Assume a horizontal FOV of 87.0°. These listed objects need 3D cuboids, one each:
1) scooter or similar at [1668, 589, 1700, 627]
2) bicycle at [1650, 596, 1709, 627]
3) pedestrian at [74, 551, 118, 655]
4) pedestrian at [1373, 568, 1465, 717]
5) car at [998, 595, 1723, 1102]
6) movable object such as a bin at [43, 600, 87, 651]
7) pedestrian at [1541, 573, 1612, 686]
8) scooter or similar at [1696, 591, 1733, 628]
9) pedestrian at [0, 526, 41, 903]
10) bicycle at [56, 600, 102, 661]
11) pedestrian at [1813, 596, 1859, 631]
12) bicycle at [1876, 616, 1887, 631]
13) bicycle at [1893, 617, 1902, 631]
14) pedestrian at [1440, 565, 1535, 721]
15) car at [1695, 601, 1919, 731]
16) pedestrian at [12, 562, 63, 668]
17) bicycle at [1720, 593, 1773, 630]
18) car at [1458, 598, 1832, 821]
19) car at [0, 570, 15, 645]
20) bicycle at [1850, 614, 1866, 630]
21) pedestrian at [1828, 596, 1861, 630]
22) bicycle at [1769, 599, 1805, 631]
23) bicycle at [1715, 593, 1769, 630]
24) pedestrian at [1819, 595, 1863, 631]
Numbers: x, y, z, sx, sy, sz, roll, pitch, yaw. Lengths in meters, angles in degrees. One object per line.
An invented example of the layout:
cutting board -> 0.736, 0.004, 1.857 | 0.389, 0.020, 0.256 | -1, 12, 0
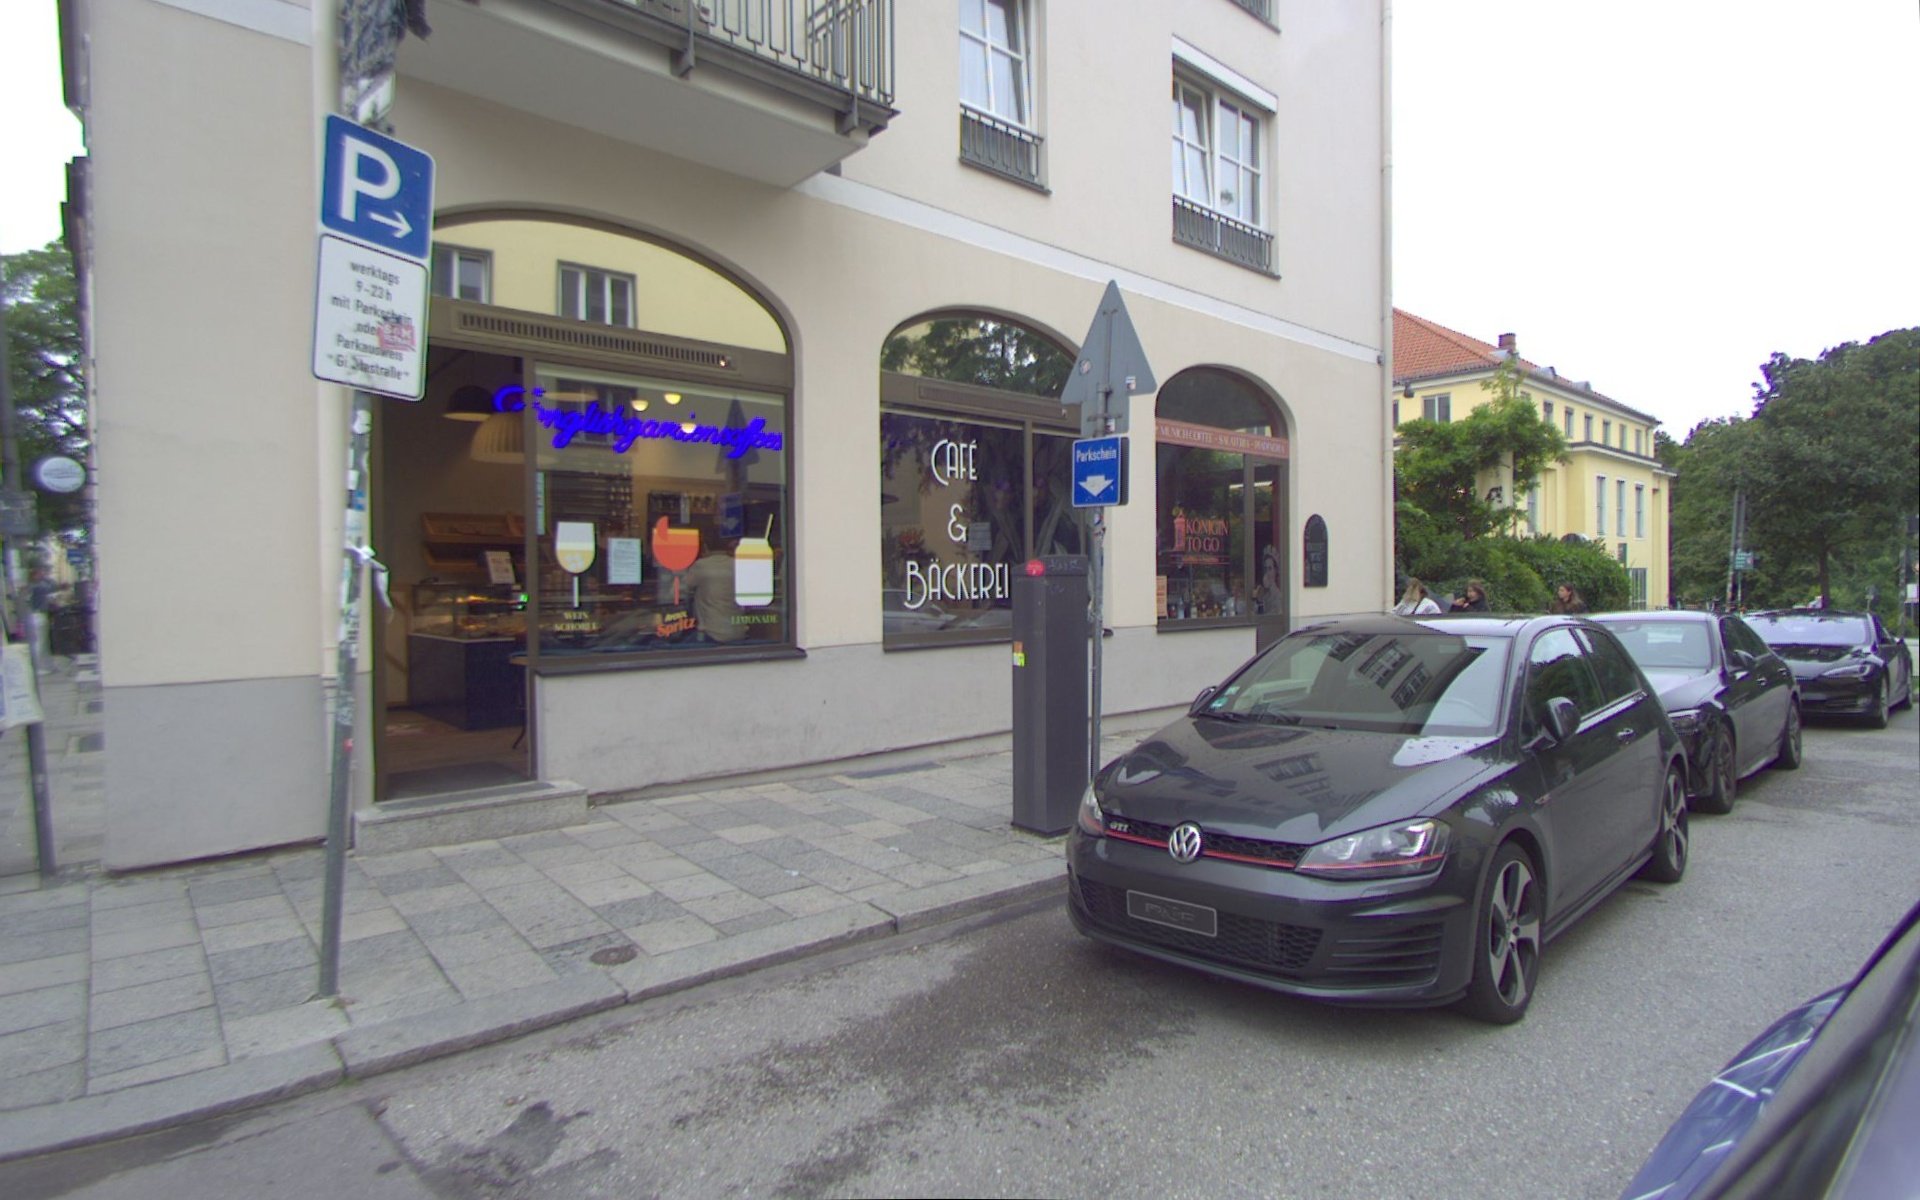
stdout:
scooter or similar -> 24.845, 0.279, 34.722 | 1.363, 1.264, 0.397 | 1, 0, -32
bicycle -> 25.263, 0.398, 35.567 | 1.638, 1.006, 0.246 | 3, 0, 26
pedestrian -> -15.252, 0.036, 17.875 | 0.534, 1.802, 0.510 | -2, 2, -40
pedestrian -> 5.475, 0.472, 12.064 | 0.866, 1.682, 0.706 | -2, 2, -42
car -> 2.237, 0.730, 4.943 | 4.133, 1.443, 1.676 | 0, -2, -43
movable object such as a bin -> -19.347, 0.542, 21.885 | 0.557, 1.035, 0.573 | -2, 2, -28
pedestrian -> 9.364, 0.419, 15.375 | 0.866, 1.642, 0.706 | -2, 2, -42
scooter or similar -> 25.457, 0.318, 34.143 | 0.317, 1.228, 1.118 | 1, 0, -4
pedestrian -> -4.587, 0.511, 4.584 | 0.633, 1.667, 0.519 | 0, 2, 41
bicycle -> -16.962, 0.572, 19.513 | 0.597, 1.085, 1.469 | -2, 2, -39
pedestrian -> 31.776, 0.498, 36.720 | 1.210, 1.264, 0.630 | -1, -3, 39
bicycle -> 44.112, 1.132, 48.457 | 0.892, 0.684, 0.215 | 2, 1, -38
bicycle -> 47.537, 1.216, 51.311 | 0.893, 0.665, 0.242 | 2, 1, -40
pedestrian -> 6.007, 0.453, 11.514 | 0.866, 1.682, 0.706 | -2, 2, -42
car -> 11.521, 0.745, 13.495 | 4.575, 1.428, 1.805 | 0, 0, -41
pedestrian -> -15.236, 0.230, 16.723 | 0.563, 1.717, 0.498 | -2, 2, -40
bicycle -> 27.142, 0.386, 34.947 | 1.623, 1.213, 0.169 | 3, 0, 1
car -> 6.053, 0.736, 8.709 | 4.432, 1.443, 1.647 | 0, -2, -43
car -> -27.812, 0.137, 28.164 | 2.041, 2.011, 4.337 | 3, -1, -42
bicycle -> 38.954, 0.965, 43.914 | 0.890, 0.684, 0.216 | 2, 0, -29
pedestrian -> 32.978, 0.498, 37.727 | 0.883, 1.251, 0.542 | -1, -3, 39
bicycle -> 29.059, 0.541, 35.558 | 1.620, 1.051, 0.308 | 2, 0, -26
bicycle -> 27.156, 0.390, 35.145 | 1.623, 1.206, 0.202 | 3, 0, 1
pedestrian -> 32.485, 0.490, 37.318 | 1.172, 1.310, 0.630 | -1, -3, 39
